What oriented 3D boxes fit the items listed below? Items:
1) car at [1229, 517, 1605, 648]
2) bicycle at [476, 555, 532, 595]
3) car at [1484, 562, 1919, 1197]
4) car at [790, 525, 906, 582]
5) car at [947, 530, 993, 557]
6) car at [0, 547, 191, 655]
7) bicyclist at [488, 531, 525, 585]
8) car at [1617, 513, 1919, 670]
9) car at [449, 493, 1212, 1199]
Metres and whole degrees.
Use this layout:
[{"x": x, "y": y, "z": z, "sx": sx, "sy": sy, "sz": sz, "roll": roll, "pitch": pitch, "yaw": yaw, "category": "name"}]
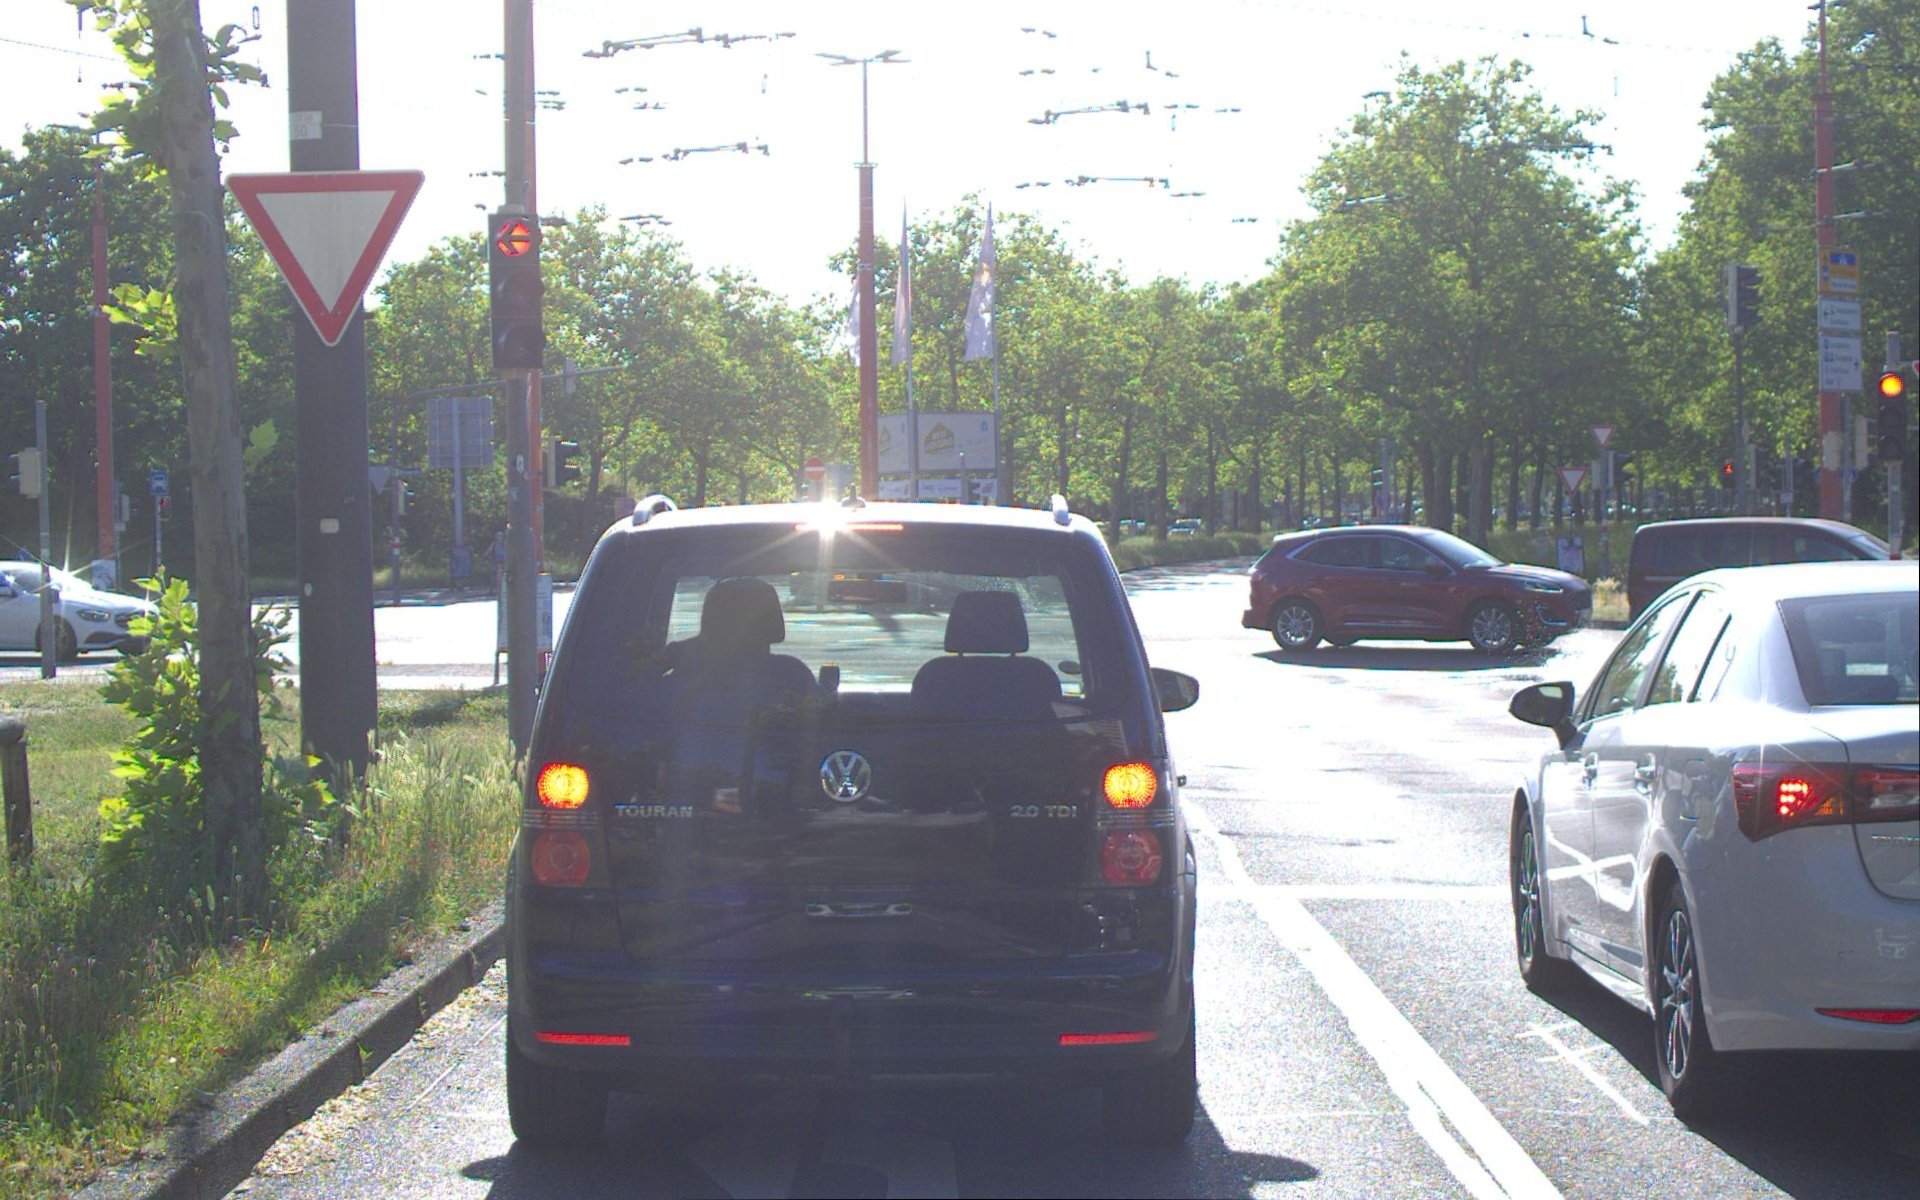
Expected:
[{"x": 6.002, "y": -0.242, "z": 45.258, "sx": 4.557, "sy": 1.662, "sz": 1.840, "roll": 0, "pitch": 1, "yaw": 28, "category": "car"}, {"x": -12.523, "y": -0.688, "z": 94.412, "sx": 0.735, "sy": 1.086, "sz": 1.959, "roll": 0, "pitch": 1, "yaw": 18, "category": "bicycle"}, {"x": 2.687, "y": 0.628, "z": 10.073, "sx": 1.715, "sy": 1.449, "sz": 4.144, "roll": 0, "pitch": 1, "yaw": 1, "category": "car"}, {"x": -3.335, "y": -1.413, "z": 103.266, "sx": 1.995, "sy": 1.679, "sz": 4.825, "roll": 0, "pitch": 1, "yaw": 17, "category": "car"}, {"x": 0.500, "y": -2.730, "z": 165.503, "sx": 1.658, "sy": 1.305, "sz": 3.814, "roll": 0, "pitch": 1, "yaw": 9, "category": "car"}, {"x": -14.215, "y": -0.005, "z": 51.837, "sx": 4.921, "sy": 1.569, "sz": 1.997, "roll": 0, "pitch": 1, "yaw": 26, "category": "car"}, {"x": -12.492, "y": -1.156, "z": 94.624, "sx": 0.693, "sy": 1.452, "sz": 0.874, "roll": 0, "pitch": 1, "yaw": 18, "category": "bicyclist"}, {"x": 9.915, "y": -0.112, "z": 39.370, "sx": 4.350, "sy": 1.726, "sz": 1.840, "roll": 0, "pitch": 1, "yaw": 29, "category": "car"}, {"x": -0.317, "y": 0.545, "z": 9.872, "sx": 1.737, "sy": 1.635, "sz": 4.000, "roll": 0, "pitch": 1, "yaw": -1, "category": "car"}]
